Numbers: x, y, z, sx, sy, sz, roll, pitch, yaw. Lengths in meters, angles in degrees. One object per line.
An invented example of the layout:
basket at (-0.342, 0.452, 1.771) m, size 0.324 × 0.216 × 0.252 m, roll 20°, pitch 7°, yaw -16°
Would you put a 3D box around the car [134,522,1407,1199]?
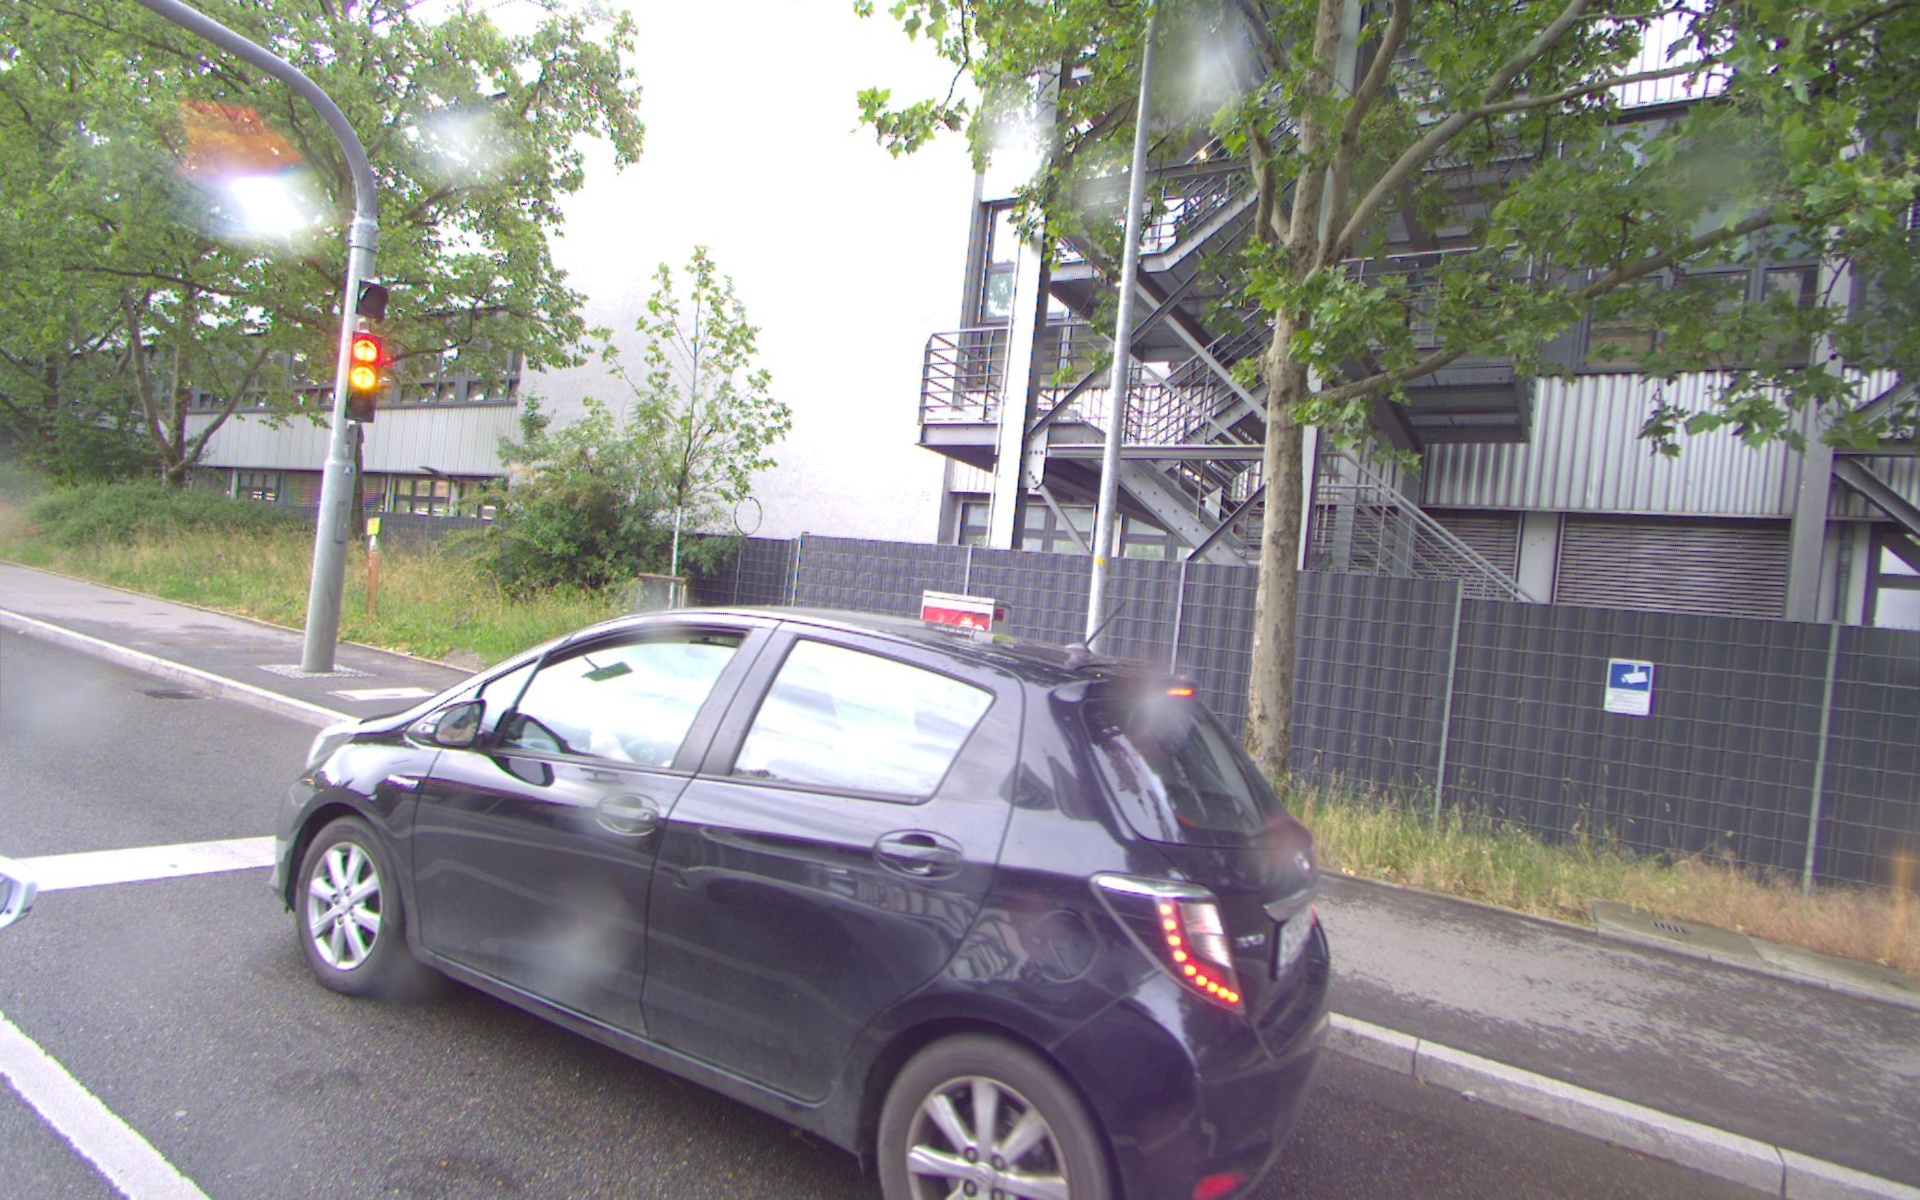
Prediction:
car at (-0.743, 0.726, 3.548) m, size 4.005 × 1.513 × 1.879 m, roll 7°, pitch 1°, yaw 28°
